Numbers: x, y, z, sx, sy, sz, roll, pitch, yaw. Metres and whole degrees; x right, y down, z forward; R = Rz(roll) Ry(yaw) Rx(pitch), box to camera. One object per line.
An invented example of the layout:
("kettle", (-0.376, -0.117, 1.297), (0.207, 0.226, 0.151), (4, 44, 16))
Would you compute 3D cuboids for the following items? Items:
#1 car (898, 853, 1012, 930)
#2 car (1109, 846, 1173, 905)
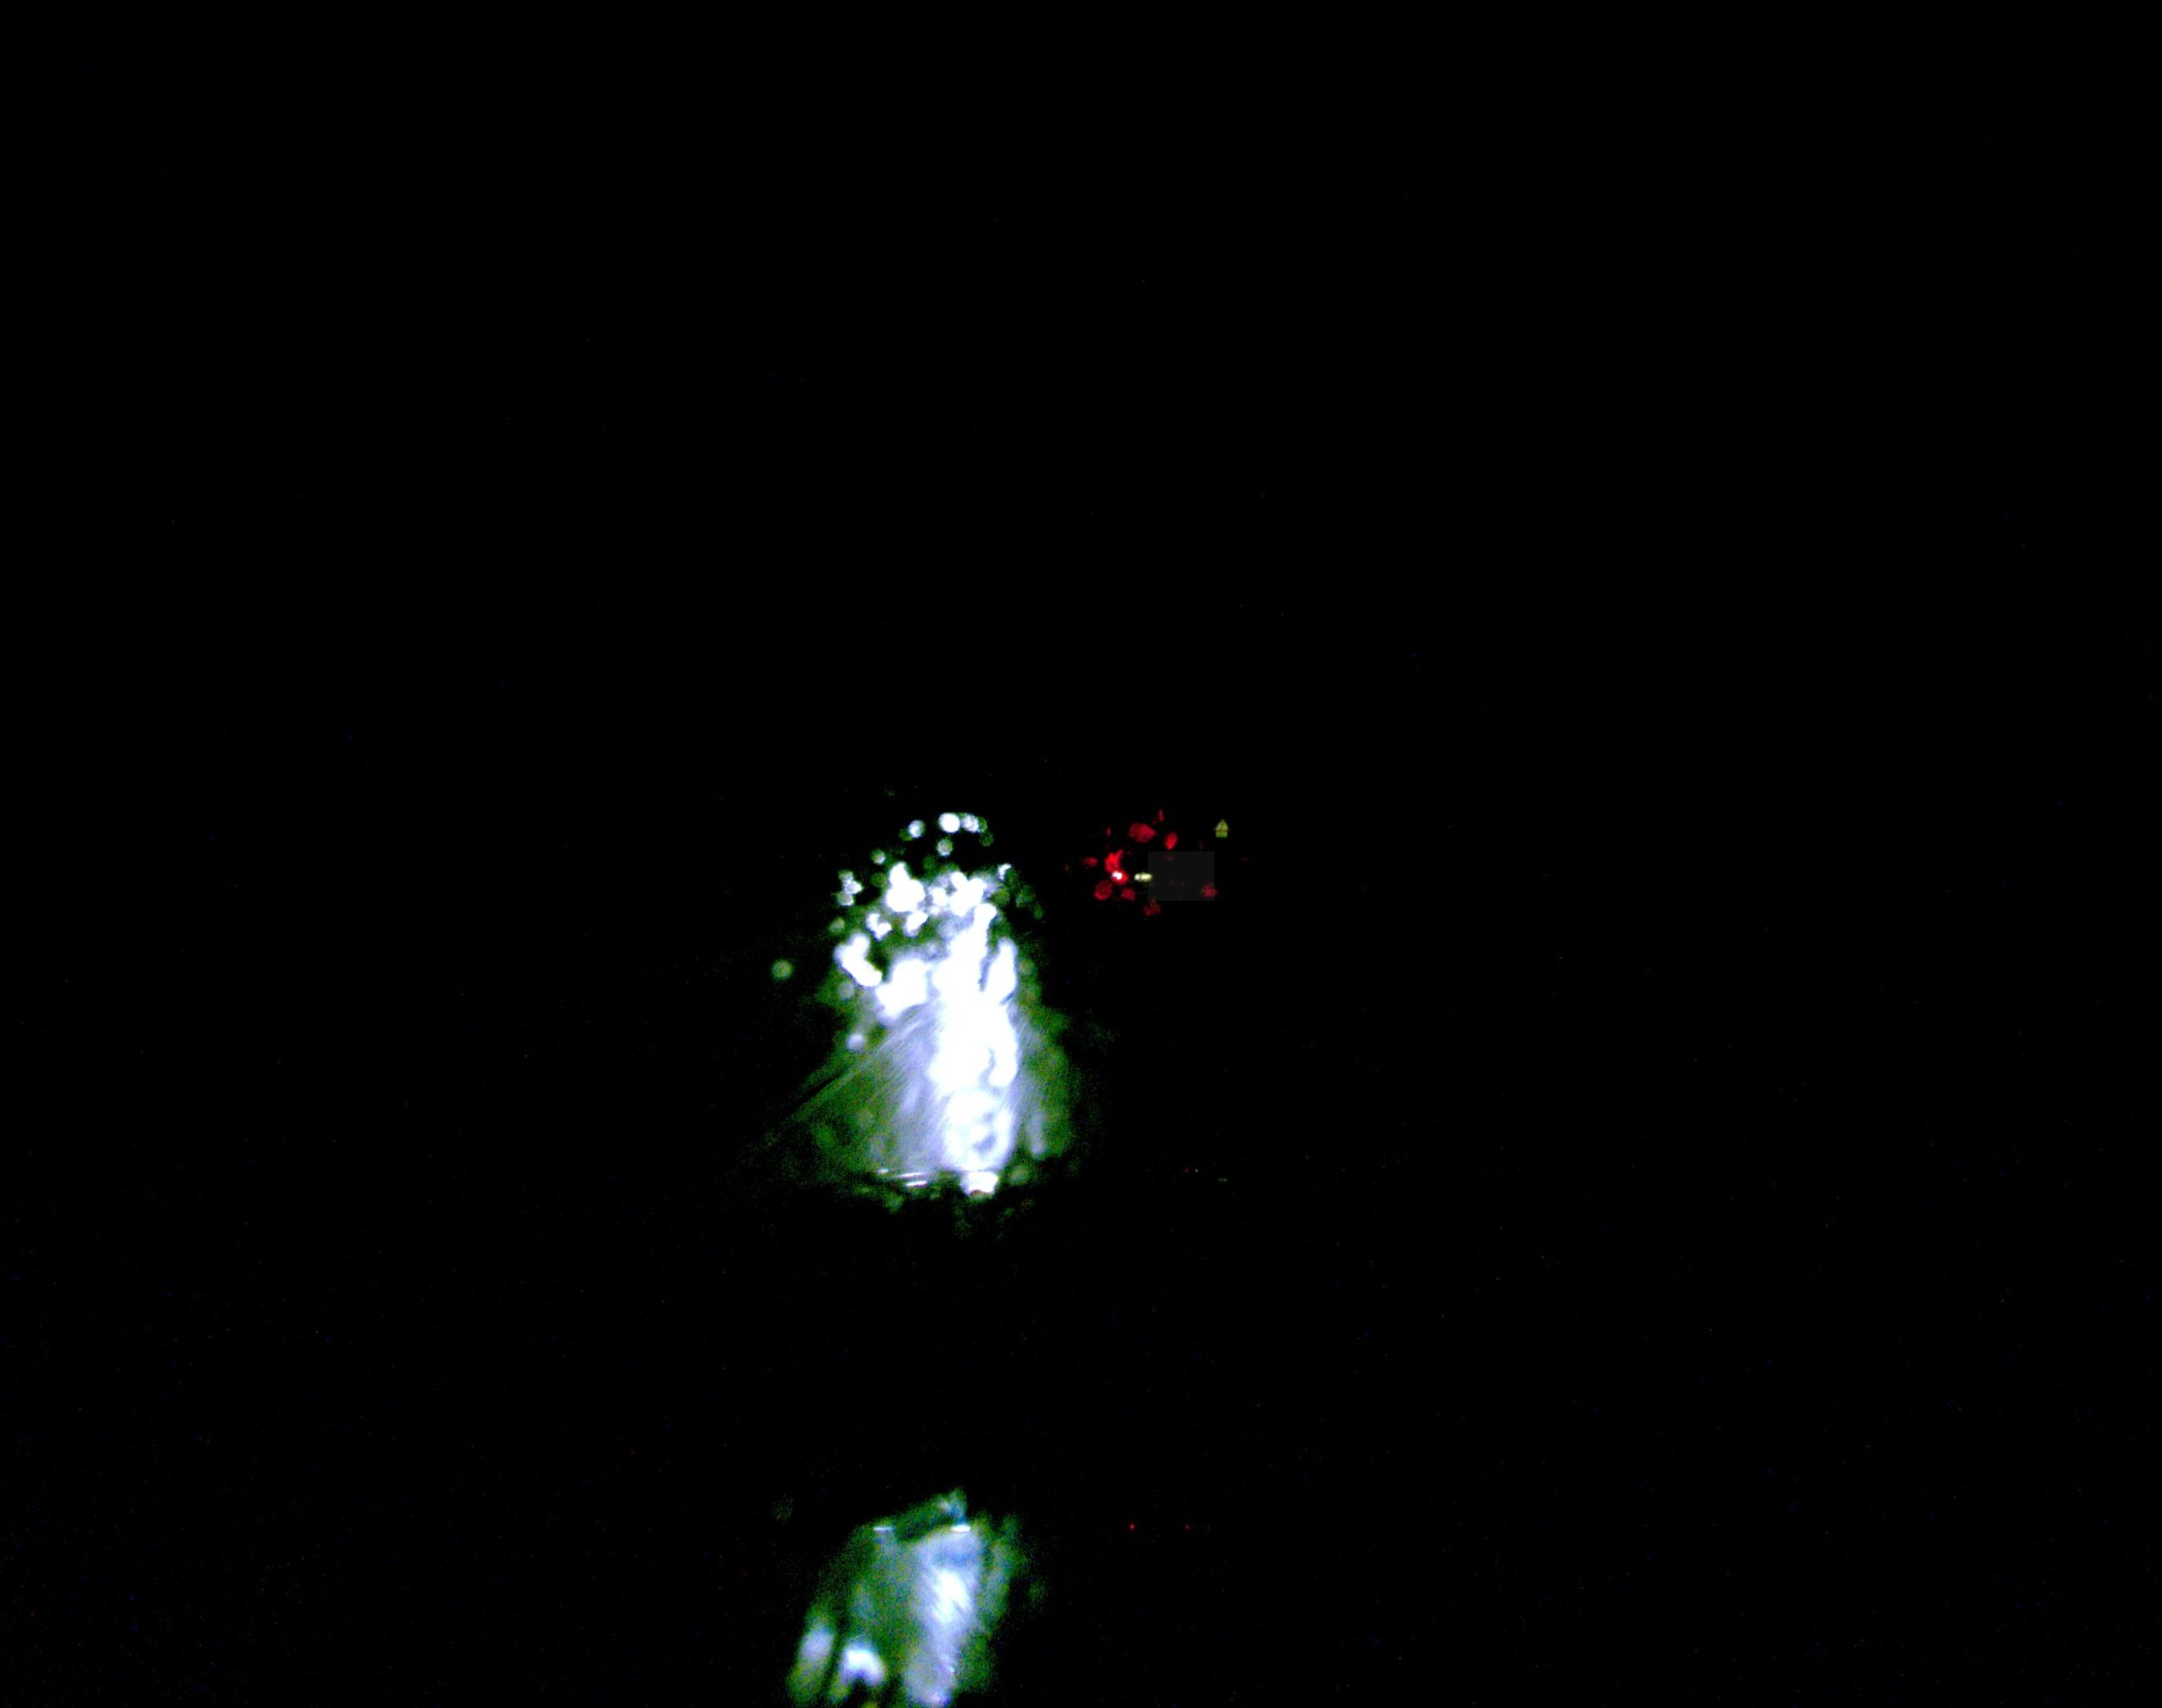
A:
("car", (-2.794, 0.779, 18.977), (1.758, 1.542, 4.151), (-1, 0, 3))
("car", (2.025, 0.710, 28.334), (1.986, 1.807, 3.919), (-3, 0, 2))
